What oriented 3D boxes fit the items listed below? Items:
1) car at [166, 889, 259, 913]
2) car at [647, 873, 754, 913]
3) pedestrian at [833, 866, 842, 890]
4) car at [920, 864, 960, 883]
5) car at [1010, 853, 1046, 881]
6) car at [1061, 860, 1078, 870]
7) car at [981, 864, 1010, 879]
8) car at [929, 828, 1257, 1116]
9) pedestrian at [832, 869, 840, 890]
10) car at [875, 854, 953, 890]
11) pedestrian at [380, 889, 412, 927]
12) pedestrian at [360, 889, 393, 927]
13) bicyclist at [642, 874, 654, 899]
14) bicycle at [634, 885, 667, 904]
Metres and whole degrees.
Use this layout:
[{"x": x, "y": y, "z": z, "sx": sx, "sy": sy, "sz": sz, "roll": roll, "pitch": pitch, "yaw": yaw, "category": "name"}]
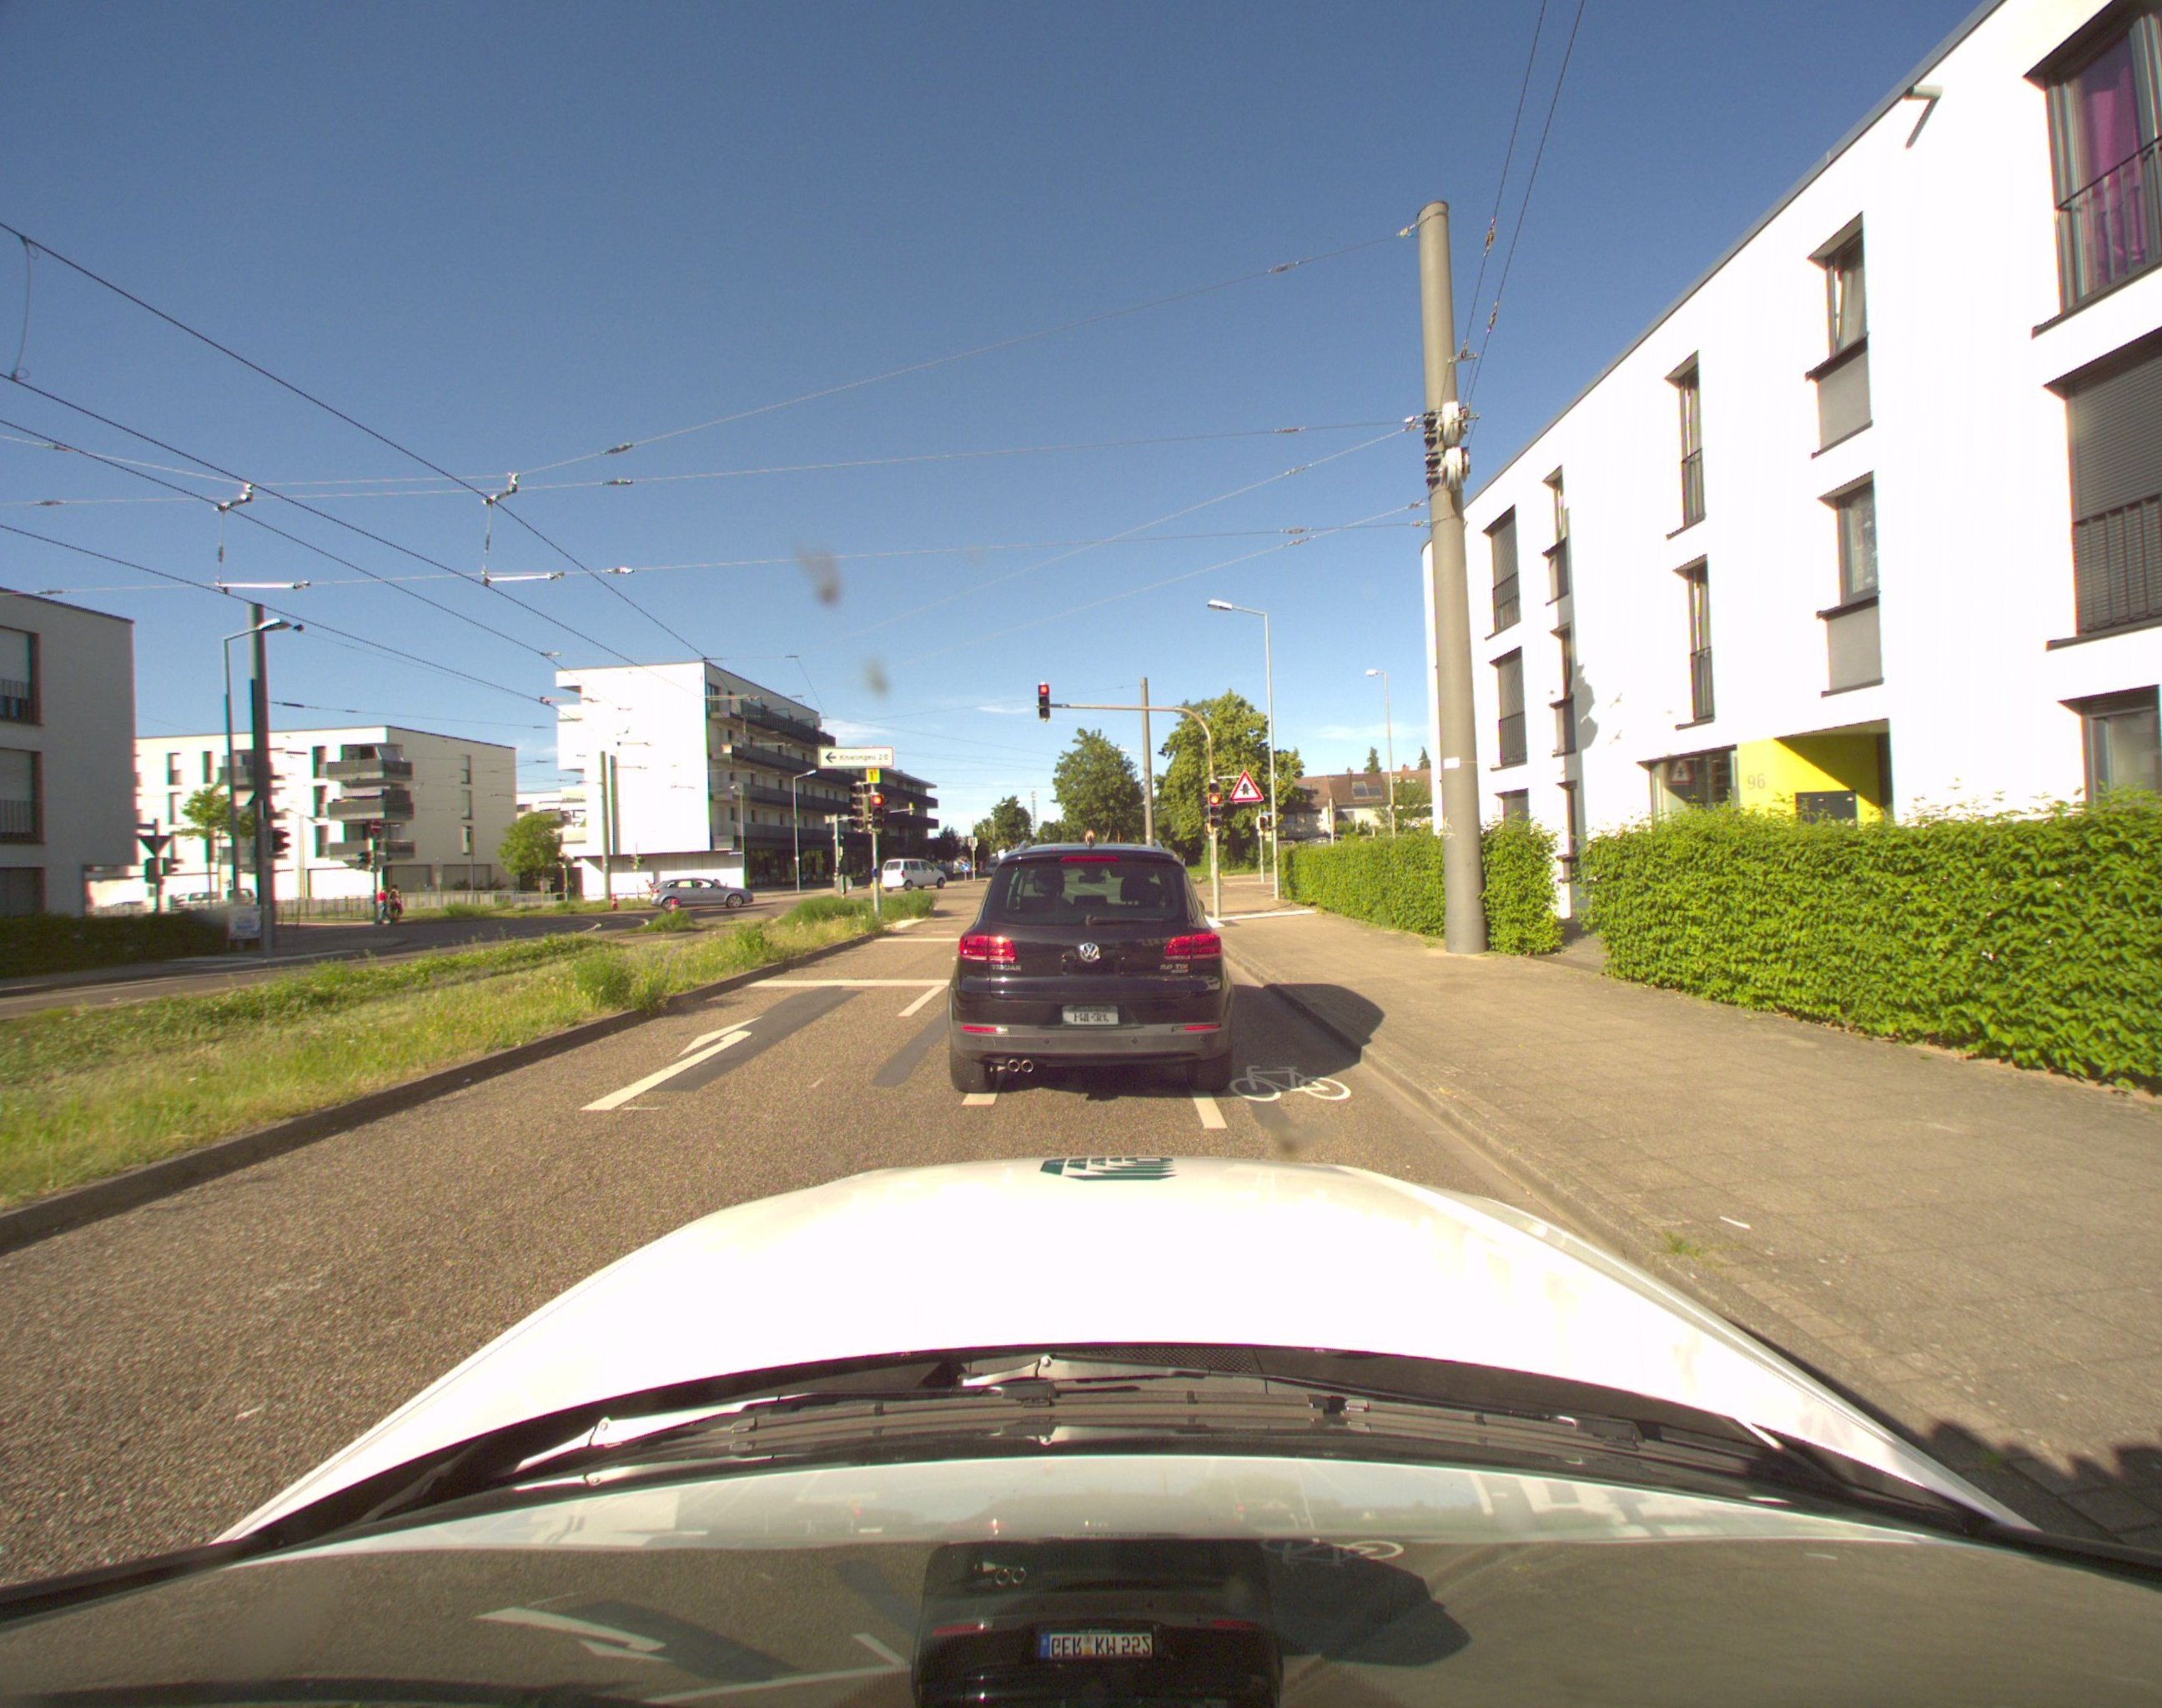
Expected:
[{"x": -58.848, "y": 3.174, "z": 55.216, "sx": 4.305, "sy": 1.574, "sz": 2.002, "roll": 0, "pitch": -1, "yaw": 4, "category": "car"}, {"x": -16.865, "y": 1.704, "z": 36.103, "sx": 4.123, "sy": 1.485, "sz": 1.852, "roll": -2, "pitch": -1, "yaw": -30, "category": "car"}, {"x": -17.772, "y": 1.740, "z": 59.432, "sx": 0.542, "sy": 1.744, "sz": 0.517, "roll": 0, "pitch": -1, "yaw": -4, "category": "pedestrian"}, {"x": -12.421, "y": 1.692, "z": 72.008, "sx": 1.980, "sy": 1.574, "sz": 4.353, "roll": -1, "pitch": -1, "yaw": 11, "category": "car"}, {"x": -3.672, "y": 0.899, "z": 55.856, "sx": 1.995, "sy": 1.836, "sz": 3.984, "roll": 0, "pitch": -1, "yaw": -12, "category": "car"}, {"x": -1.889, "y": 1.747, "z": 132.783, "sx": 1.981, "sy": 1.574, "sz": 4.350, "roll": -1, "pitch": -1, "yaw": 9, "category": "car"}, {"x": -9.314, "y": 1.923, "z": 88.816, "sx": 1.981, "sy": 1.574, "sz": 4.350, "roll": -1, "pitch": -1, "yaw": 9, "category": "car"}, {"x": 0.128, "y": 0.692, "z": 6.661, "sx": 1.862, "sy": 1.637, "sz": 4.001, "roll": 0, "pitch": -1, "yaw": 2, "category": "car"}, {"x": -17.710, "y": 1.868, "z": 58.880, "sx": 0.440, "sy": 1.503, "sz": 0.517, "roll": 0, "pitch": -1, "yaw": -4, "category": "pedestrian"}, {"x": -8.722, "y": 0.917, "z": 42.826, "sx": 1.845, "sy": 1.720, "sz": 3.710, "roll": -2, "pitch": 0, "yaw": 34, "category": "car"}, {"x": -29.406, "y": 2.312, "z": 34.972, "sx": 0.769, "sy": 1.605, "sz": 0.742, "roll": 0, "pitch": -1, "yaw": -3, "category": "pedestrian"}, {"x": -30.257, "y": 2.319, "z": 34.998, "sx": 0.769, "sy": 1.605, "sz": 0.742, "roll": 0, "pitch": -1, "yaw": -3, "category": "pedestrian"}, {"x": -28.634, "y": 2.142, "z": 53.855, "sx": 0.642, "sy": 1.614, "sz": 0.779, "roll": 0, "pitch": -1, "yaw": -24, "category": "bicyclist"}, {"x": -28.492, "y": 2.674, "z": 53.940, "sx": 1.864, "sy": 1.124, "sz": 0.816, "roll": 0, "pitch": -1, "yaw": -26, "category": "bicycle"}]
